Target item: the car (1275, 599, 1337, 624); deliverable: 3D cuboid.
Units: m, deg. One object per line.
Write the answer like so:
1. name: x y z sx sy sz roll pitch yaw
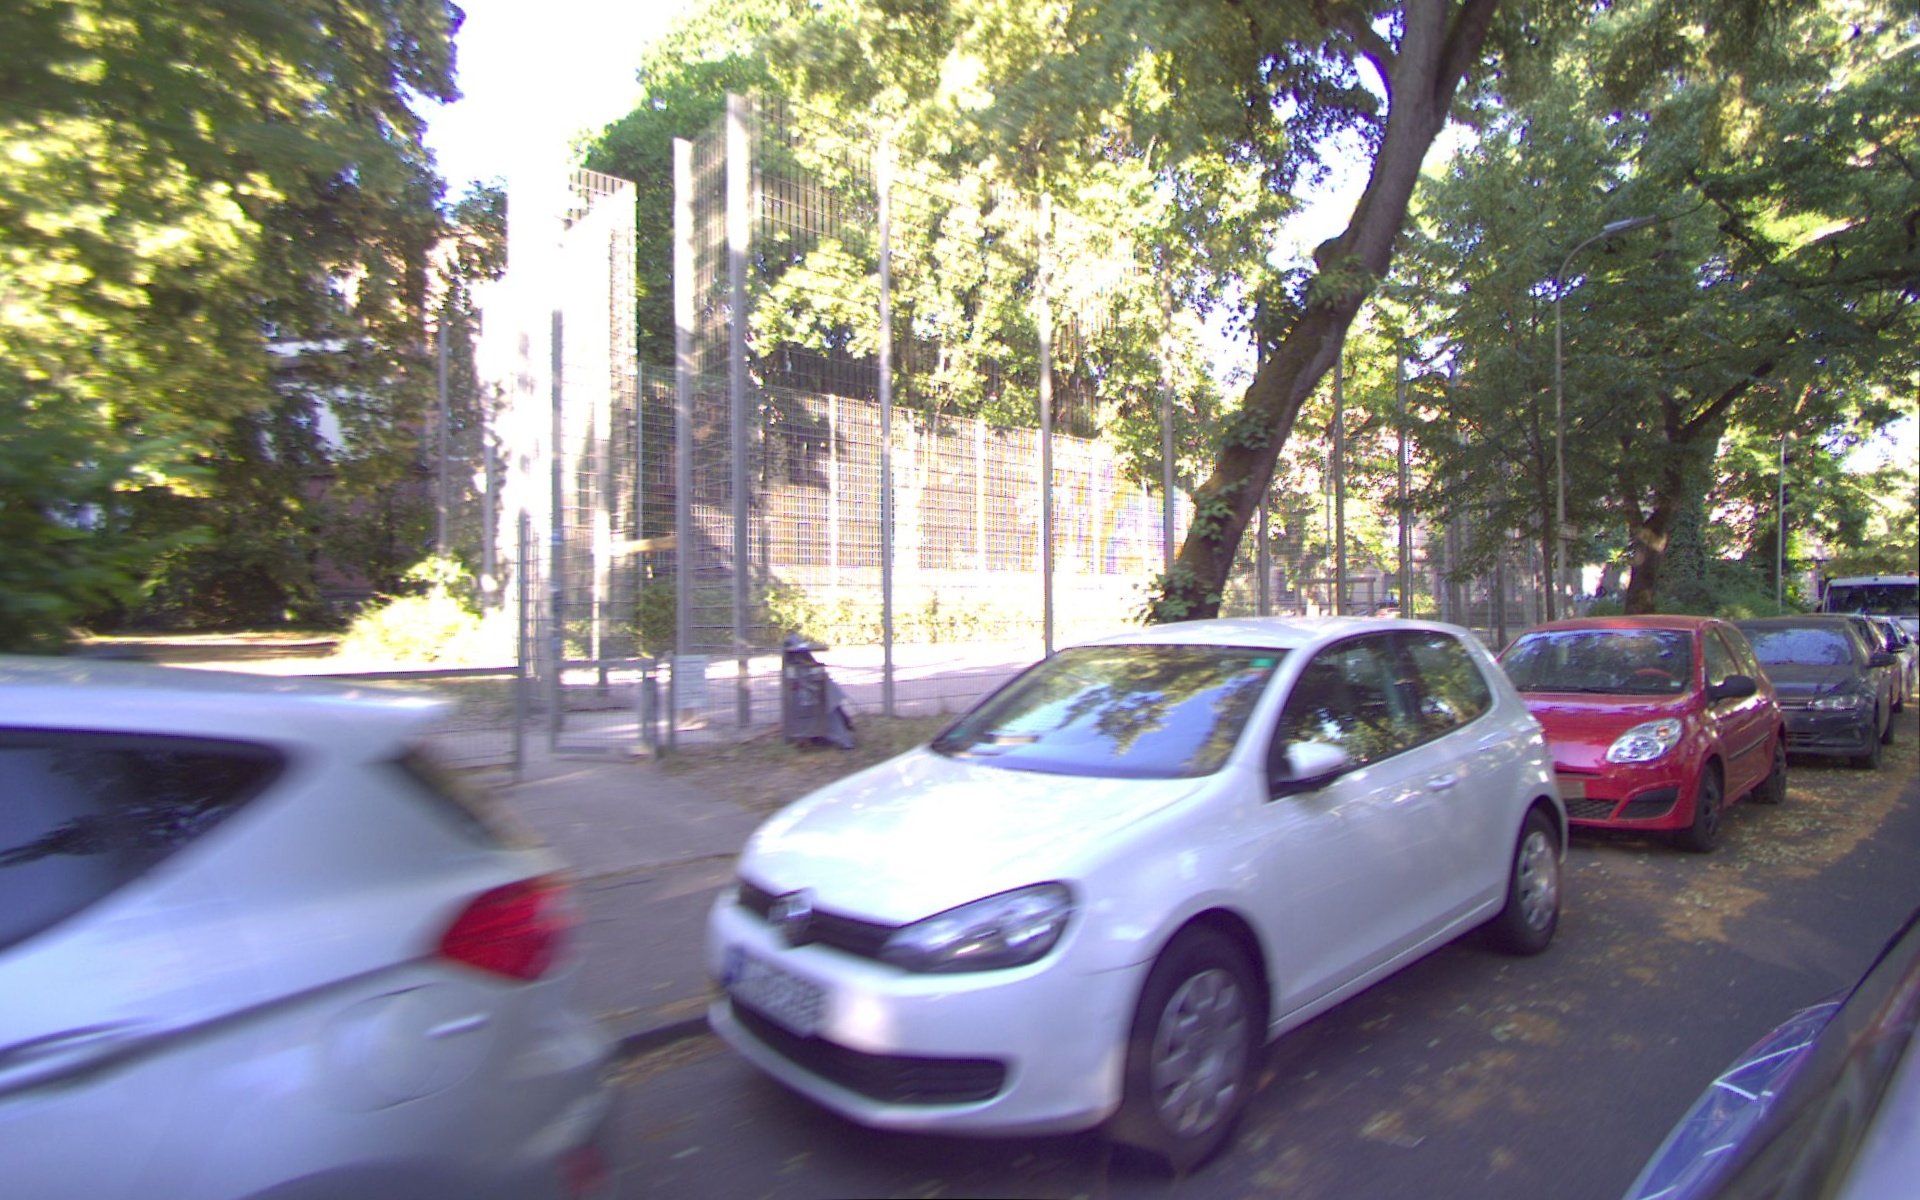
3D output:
1. car: 21.051 0.691 61.677 3.415 1.427 1.793 1 1 13

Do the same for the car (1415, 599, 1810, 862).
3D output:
1. car: 4.933 0.743 7.481 3.494 1.472 1.592 0 -1 -42

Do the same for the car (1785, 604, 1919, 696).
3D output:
1. car: 16.088 0.795 17.913 4.225 1.415 1.674 0 -1 -42

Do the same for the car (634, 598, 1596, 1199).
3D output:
1. car: 0.959 0.744 4.073 4.006 1.472 1.682 0 -1 -42

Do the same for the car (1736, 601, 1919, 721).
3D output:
1. car: 12.589 0.773 14.535 3.883 1.472 1.674 0 -1 -43

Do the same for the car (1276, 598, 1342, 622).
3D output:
1. car: 23.035 0.640 66.939 3.940 1.427 1.793 1 1 13

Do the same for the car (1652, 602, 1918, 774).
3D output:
1. car: 8.833 0.772 10.722 3.883 1.472 1.674 0 -1 -43

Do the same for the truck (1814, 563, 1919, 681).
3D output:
1. truck: 21.660 0.443 23.369 6.820 2.417 2.297 0 -1 -44

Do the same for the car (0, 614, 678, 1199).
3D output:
1. car: -2.497 0.779 0.987 1.680 1.472 4.011 -1 -1 44
